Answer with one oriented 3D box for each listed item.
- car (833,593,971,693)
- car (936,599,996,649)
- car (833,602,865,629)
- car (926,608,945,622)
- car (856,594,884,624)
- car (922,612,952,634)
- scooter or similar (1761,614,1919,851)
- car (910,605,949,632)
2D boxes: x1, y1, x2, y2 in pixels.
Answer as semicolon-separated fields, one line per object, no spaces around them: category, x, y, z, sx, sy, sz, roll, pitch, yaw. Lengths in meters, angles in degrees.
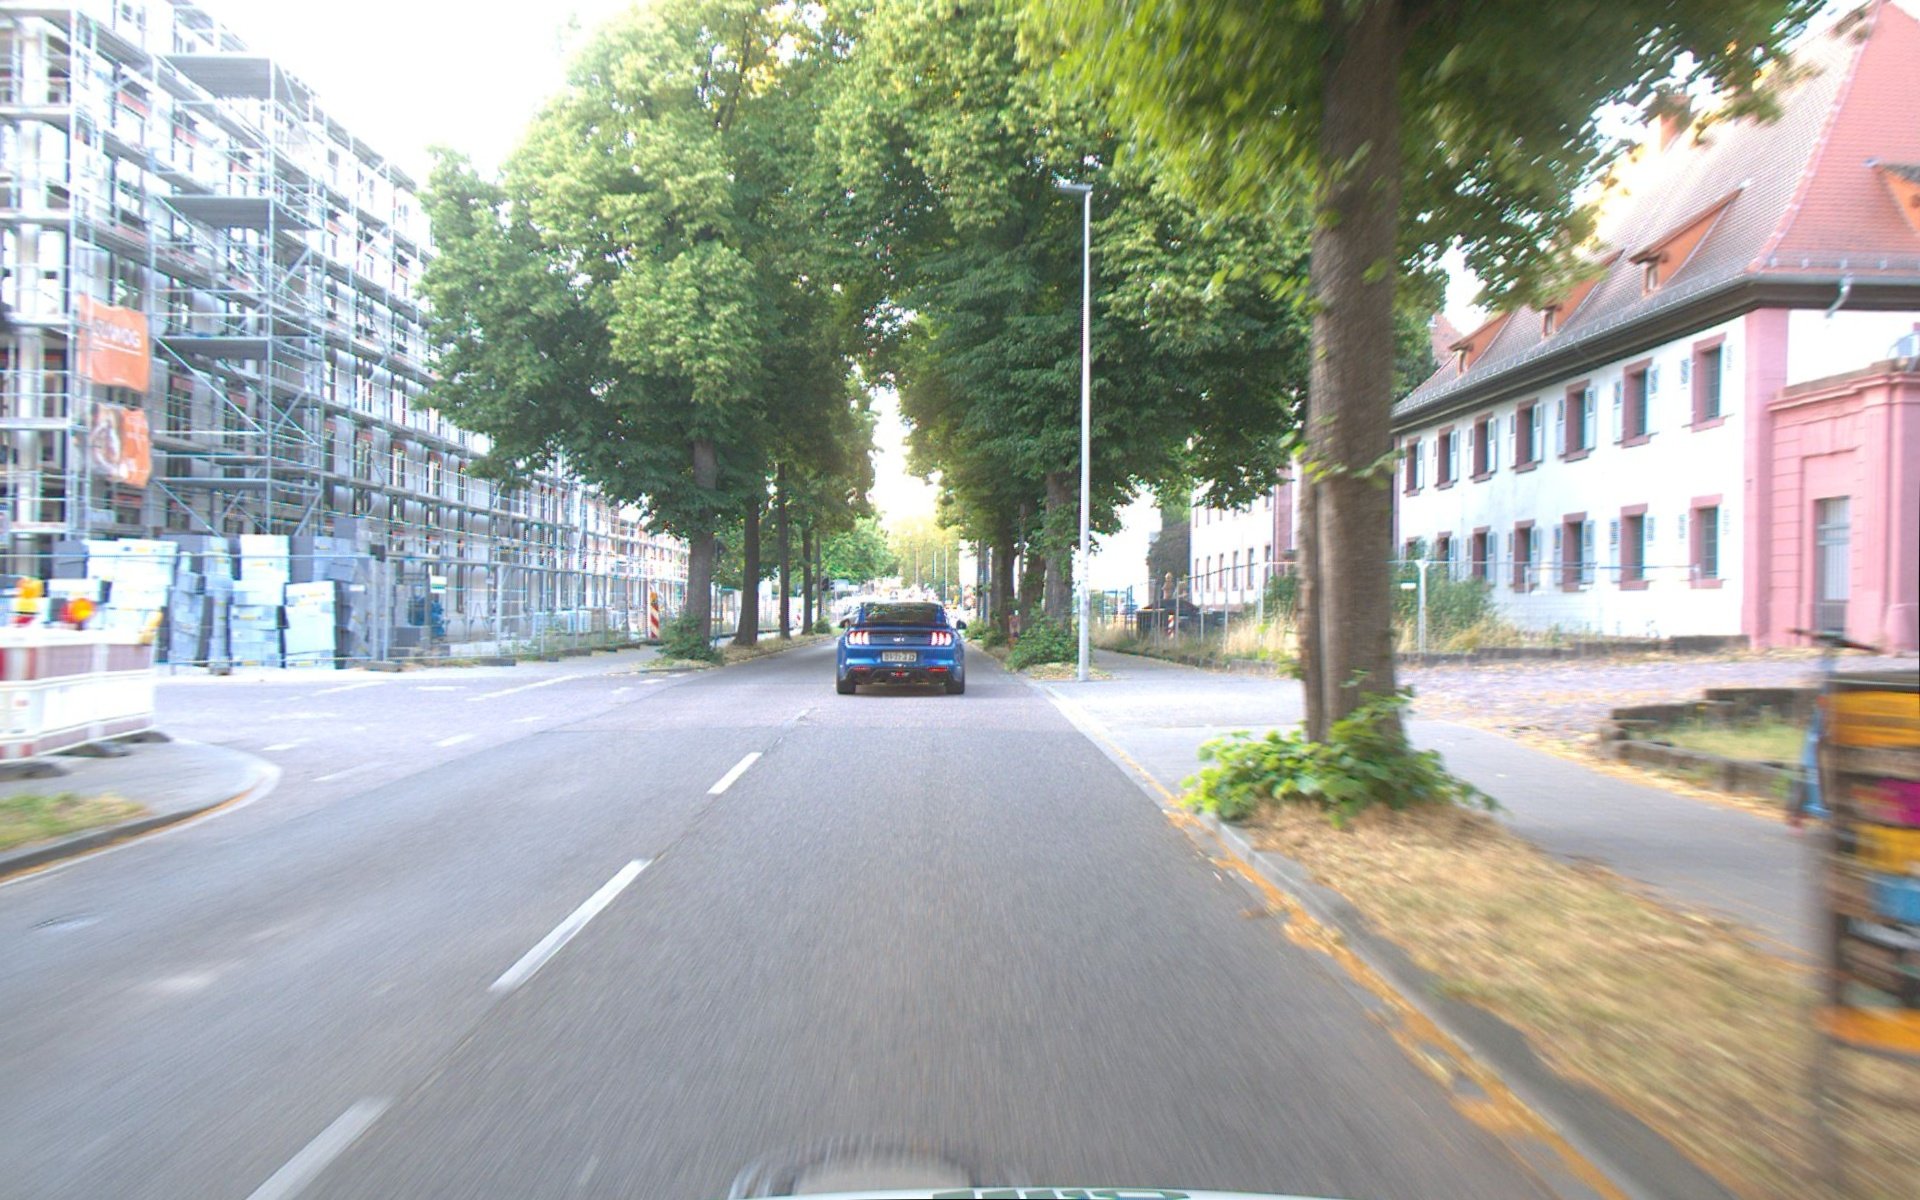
car;-0.856;0.617;25.342;1.907;1.350;3.999;2;0;-1
car;0.222;0.792;56.242;1.907;1.554;4.000;2;0;1
car;-9.491;1.292;141.706;2.288;2.236;5.309;0;0;1
car;-2.551;1.544;171.380;1.907;1.350;3.999;2;0;-1
car;-8.342;0.824;153.362;2.442;2.744;5.828;0;0;-2
car;-1.568;1.511;111.122;1.907;1.350;3.999;2;0;-1
scooter or similar;5.191;0.736;9.727;0.234;1.298;1.265;0;-1;-6
car;-1.643;0.990;89.989;1.907;1.350;4.000;2;0;1
